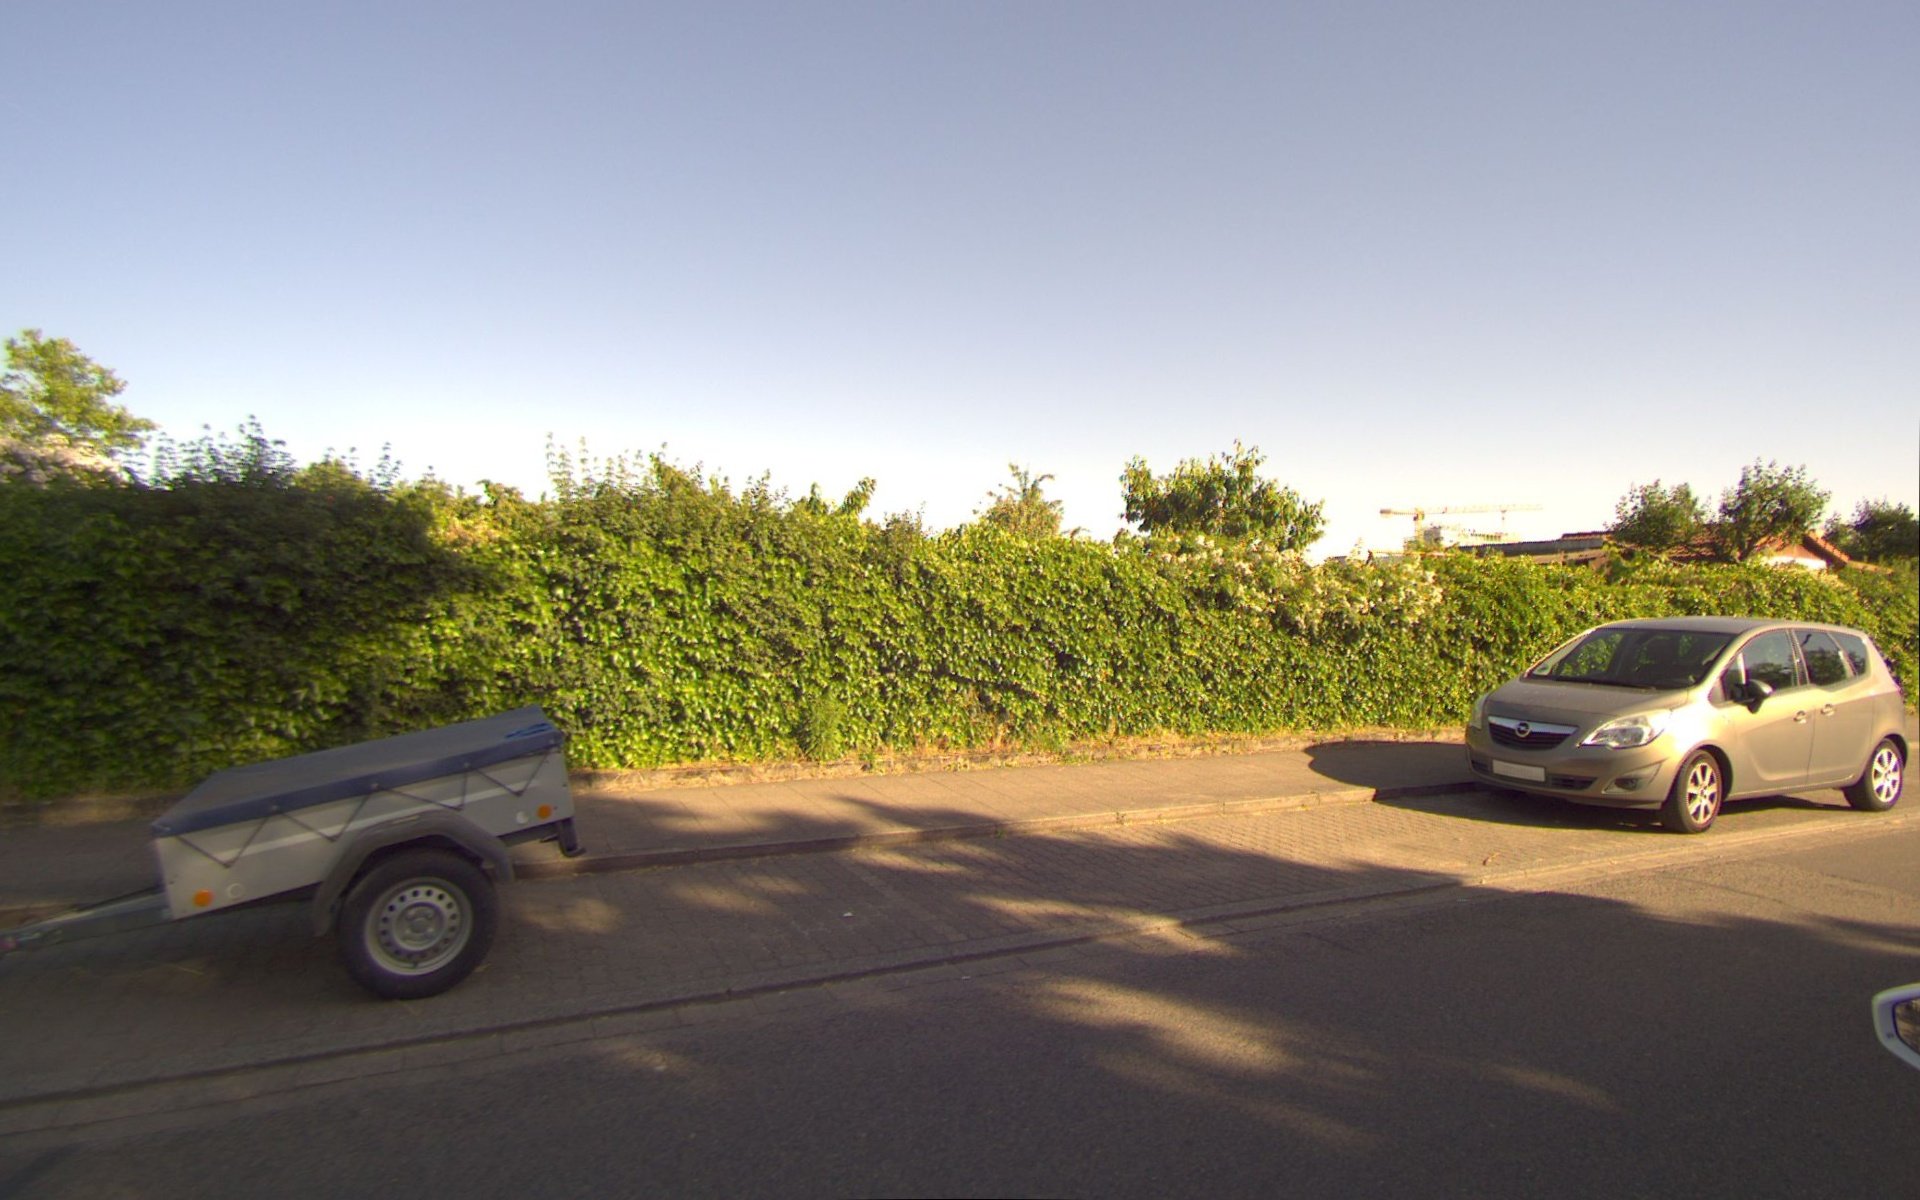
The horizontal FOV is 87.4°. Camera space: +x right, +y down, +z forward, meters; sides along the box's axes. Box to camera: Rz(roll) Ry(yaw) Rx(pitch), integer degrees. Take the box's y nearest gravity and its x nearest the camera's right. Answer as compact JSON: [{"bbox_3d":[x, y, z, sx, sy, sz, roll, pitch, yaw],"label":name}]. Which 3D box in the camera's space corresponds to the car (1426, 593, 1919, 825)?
[{"bbox_3d":[6.213,0.806,8.624,4.252,1.621,1.639,1,0,-24],"label":"car"}]

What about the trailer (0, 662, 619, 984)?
[{"bbox_3d":[-2.885,0.794,4.258,2.610,0.966,1.540,2,0,-24],"label":"trailer"}]
